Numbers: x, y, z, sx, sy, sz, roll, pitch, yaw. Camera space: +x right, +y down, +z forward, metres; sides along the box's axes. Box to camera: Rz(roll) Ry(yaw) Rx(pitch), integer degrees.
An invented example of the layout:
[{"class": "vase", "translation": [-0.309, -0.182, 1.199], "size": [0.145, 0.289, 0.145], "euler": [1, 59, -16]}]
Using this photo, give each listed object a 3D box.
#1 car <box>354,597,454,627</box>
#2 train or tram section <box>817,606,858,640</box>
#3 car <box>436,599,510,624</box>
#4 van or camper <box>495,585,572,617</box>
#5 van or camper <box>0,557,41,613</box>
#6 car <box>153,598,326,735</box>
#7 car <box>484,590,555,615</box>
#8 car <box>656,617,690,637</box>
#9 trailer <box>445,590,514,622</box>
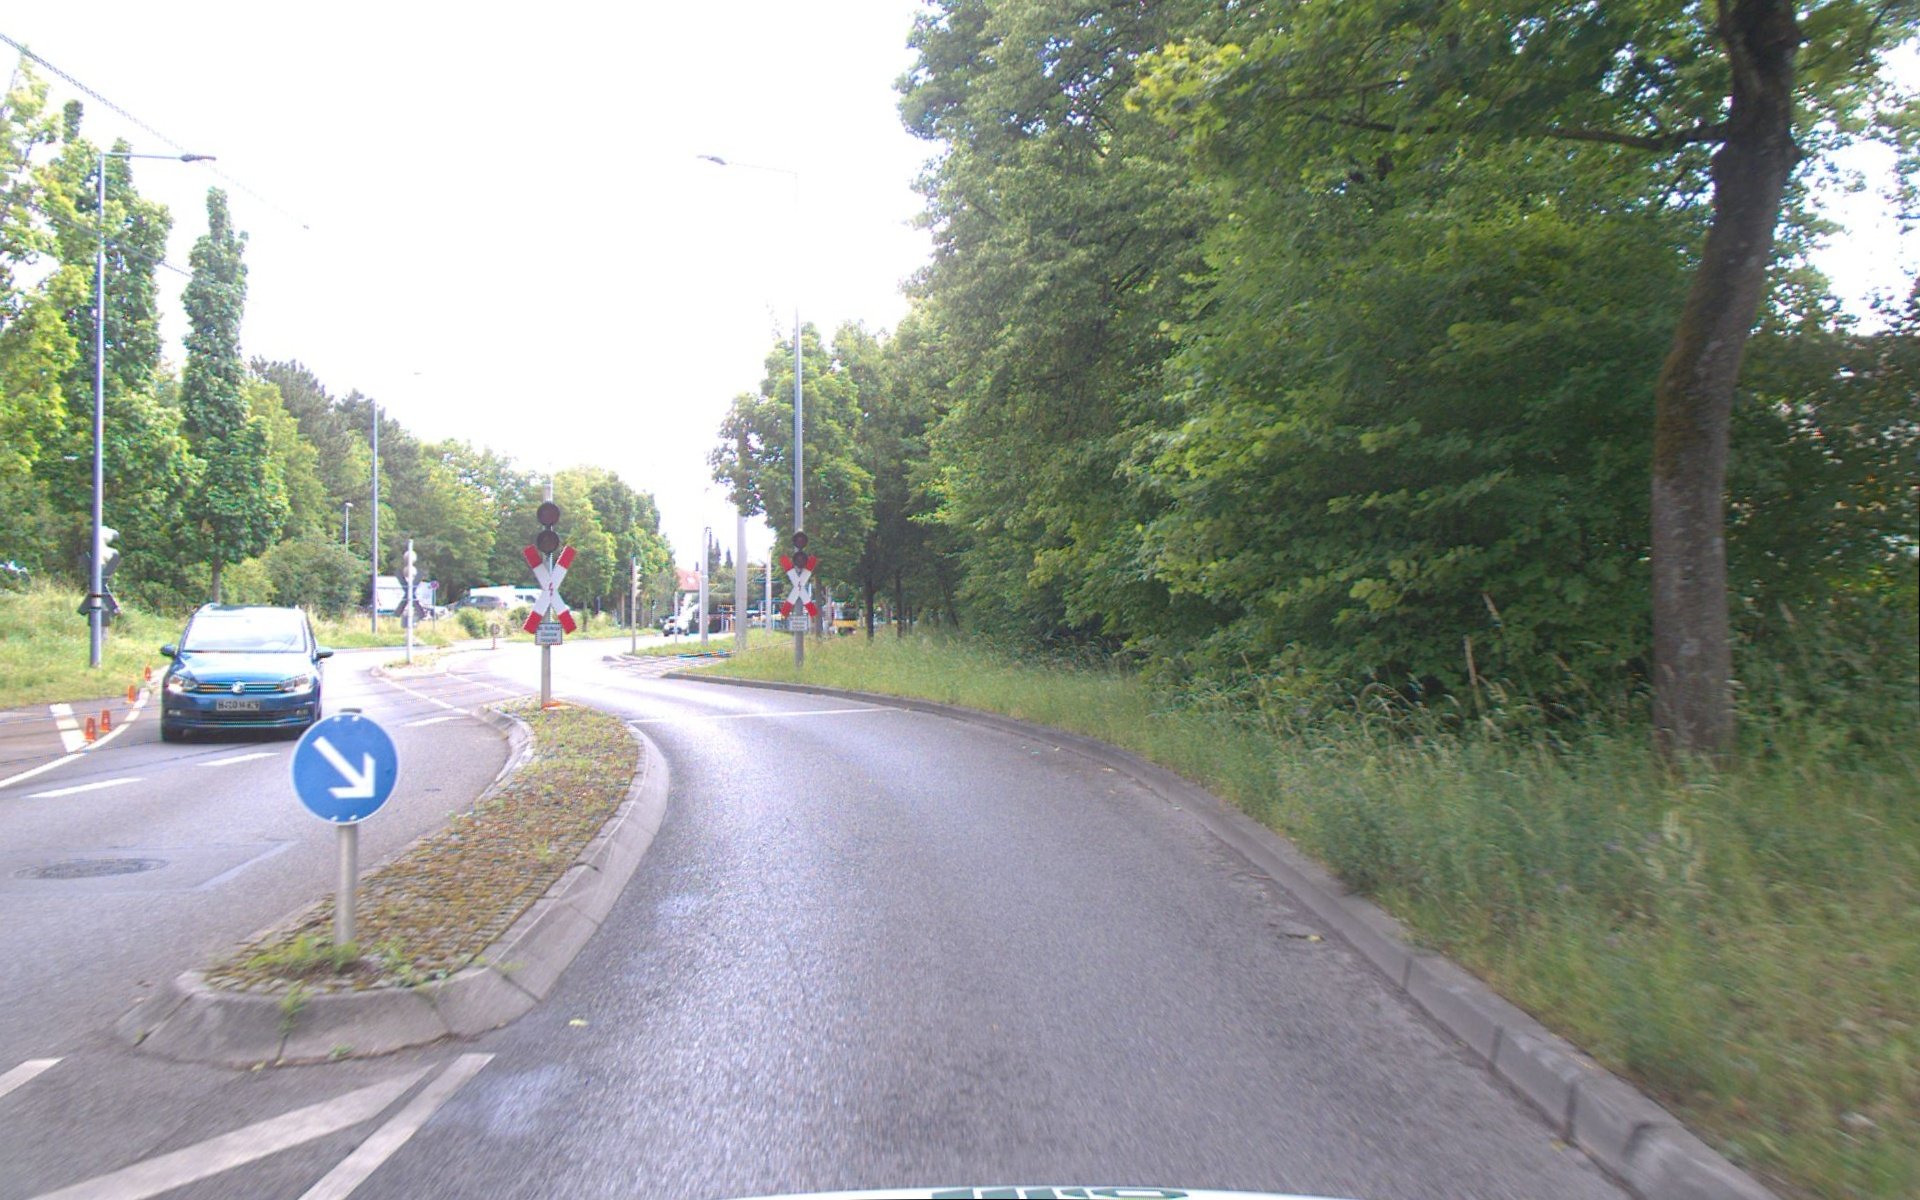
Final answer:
[{"class": "car", "translation": [-31.012, 0.704, 92.345], "size": [4.830, 1.613, 2.205], "euler": [1, -1, -5]}, {"class": "train or tram section", "translation": [-13.761, 2.557, 183.391], "size": [2.950, 3.369, 34.655], "euler": [1, -1, -7]}, {"class": "car", "translation": [-30.848, 0.709, 104.951], "size": [4.230, 1.474, 1.833], "euler": [-1, -1, -8]}, {"class": "van or camper", "translation": [-31.549, 0.086, 122.416], "size": [5.228, 2.241, 1.998], "euler": [1, -1, -5]}, {"class": "van or camper", "translation": [-33.735, -0.526, 56.726], "size": [1.953, 1.910, 4.627], "euler": [1, -1, -2]}, {"class": "car", "translation": [-9.248, 0.779, 21.398], "size": [1.842, 1.547, 4.209], "euler": [1, 0, -23]}, {"class": "car", "translation": [-31.862, 0.180, 119.766], "size": [4.545, 1.685, 2.001], "euler": [0, -1, 3]}, {"class": "car", "translation": [-21.998, 2.026, 126.891], "size": [1.953, 1.463, 4.425], "euler": [-1, 0, -1]}, {"class": "trailer", "translation": [-31.363, 0.404, 107.971], "size": [3.906, 2.049, 1.907], "euler": [1, -1, -1]}]
